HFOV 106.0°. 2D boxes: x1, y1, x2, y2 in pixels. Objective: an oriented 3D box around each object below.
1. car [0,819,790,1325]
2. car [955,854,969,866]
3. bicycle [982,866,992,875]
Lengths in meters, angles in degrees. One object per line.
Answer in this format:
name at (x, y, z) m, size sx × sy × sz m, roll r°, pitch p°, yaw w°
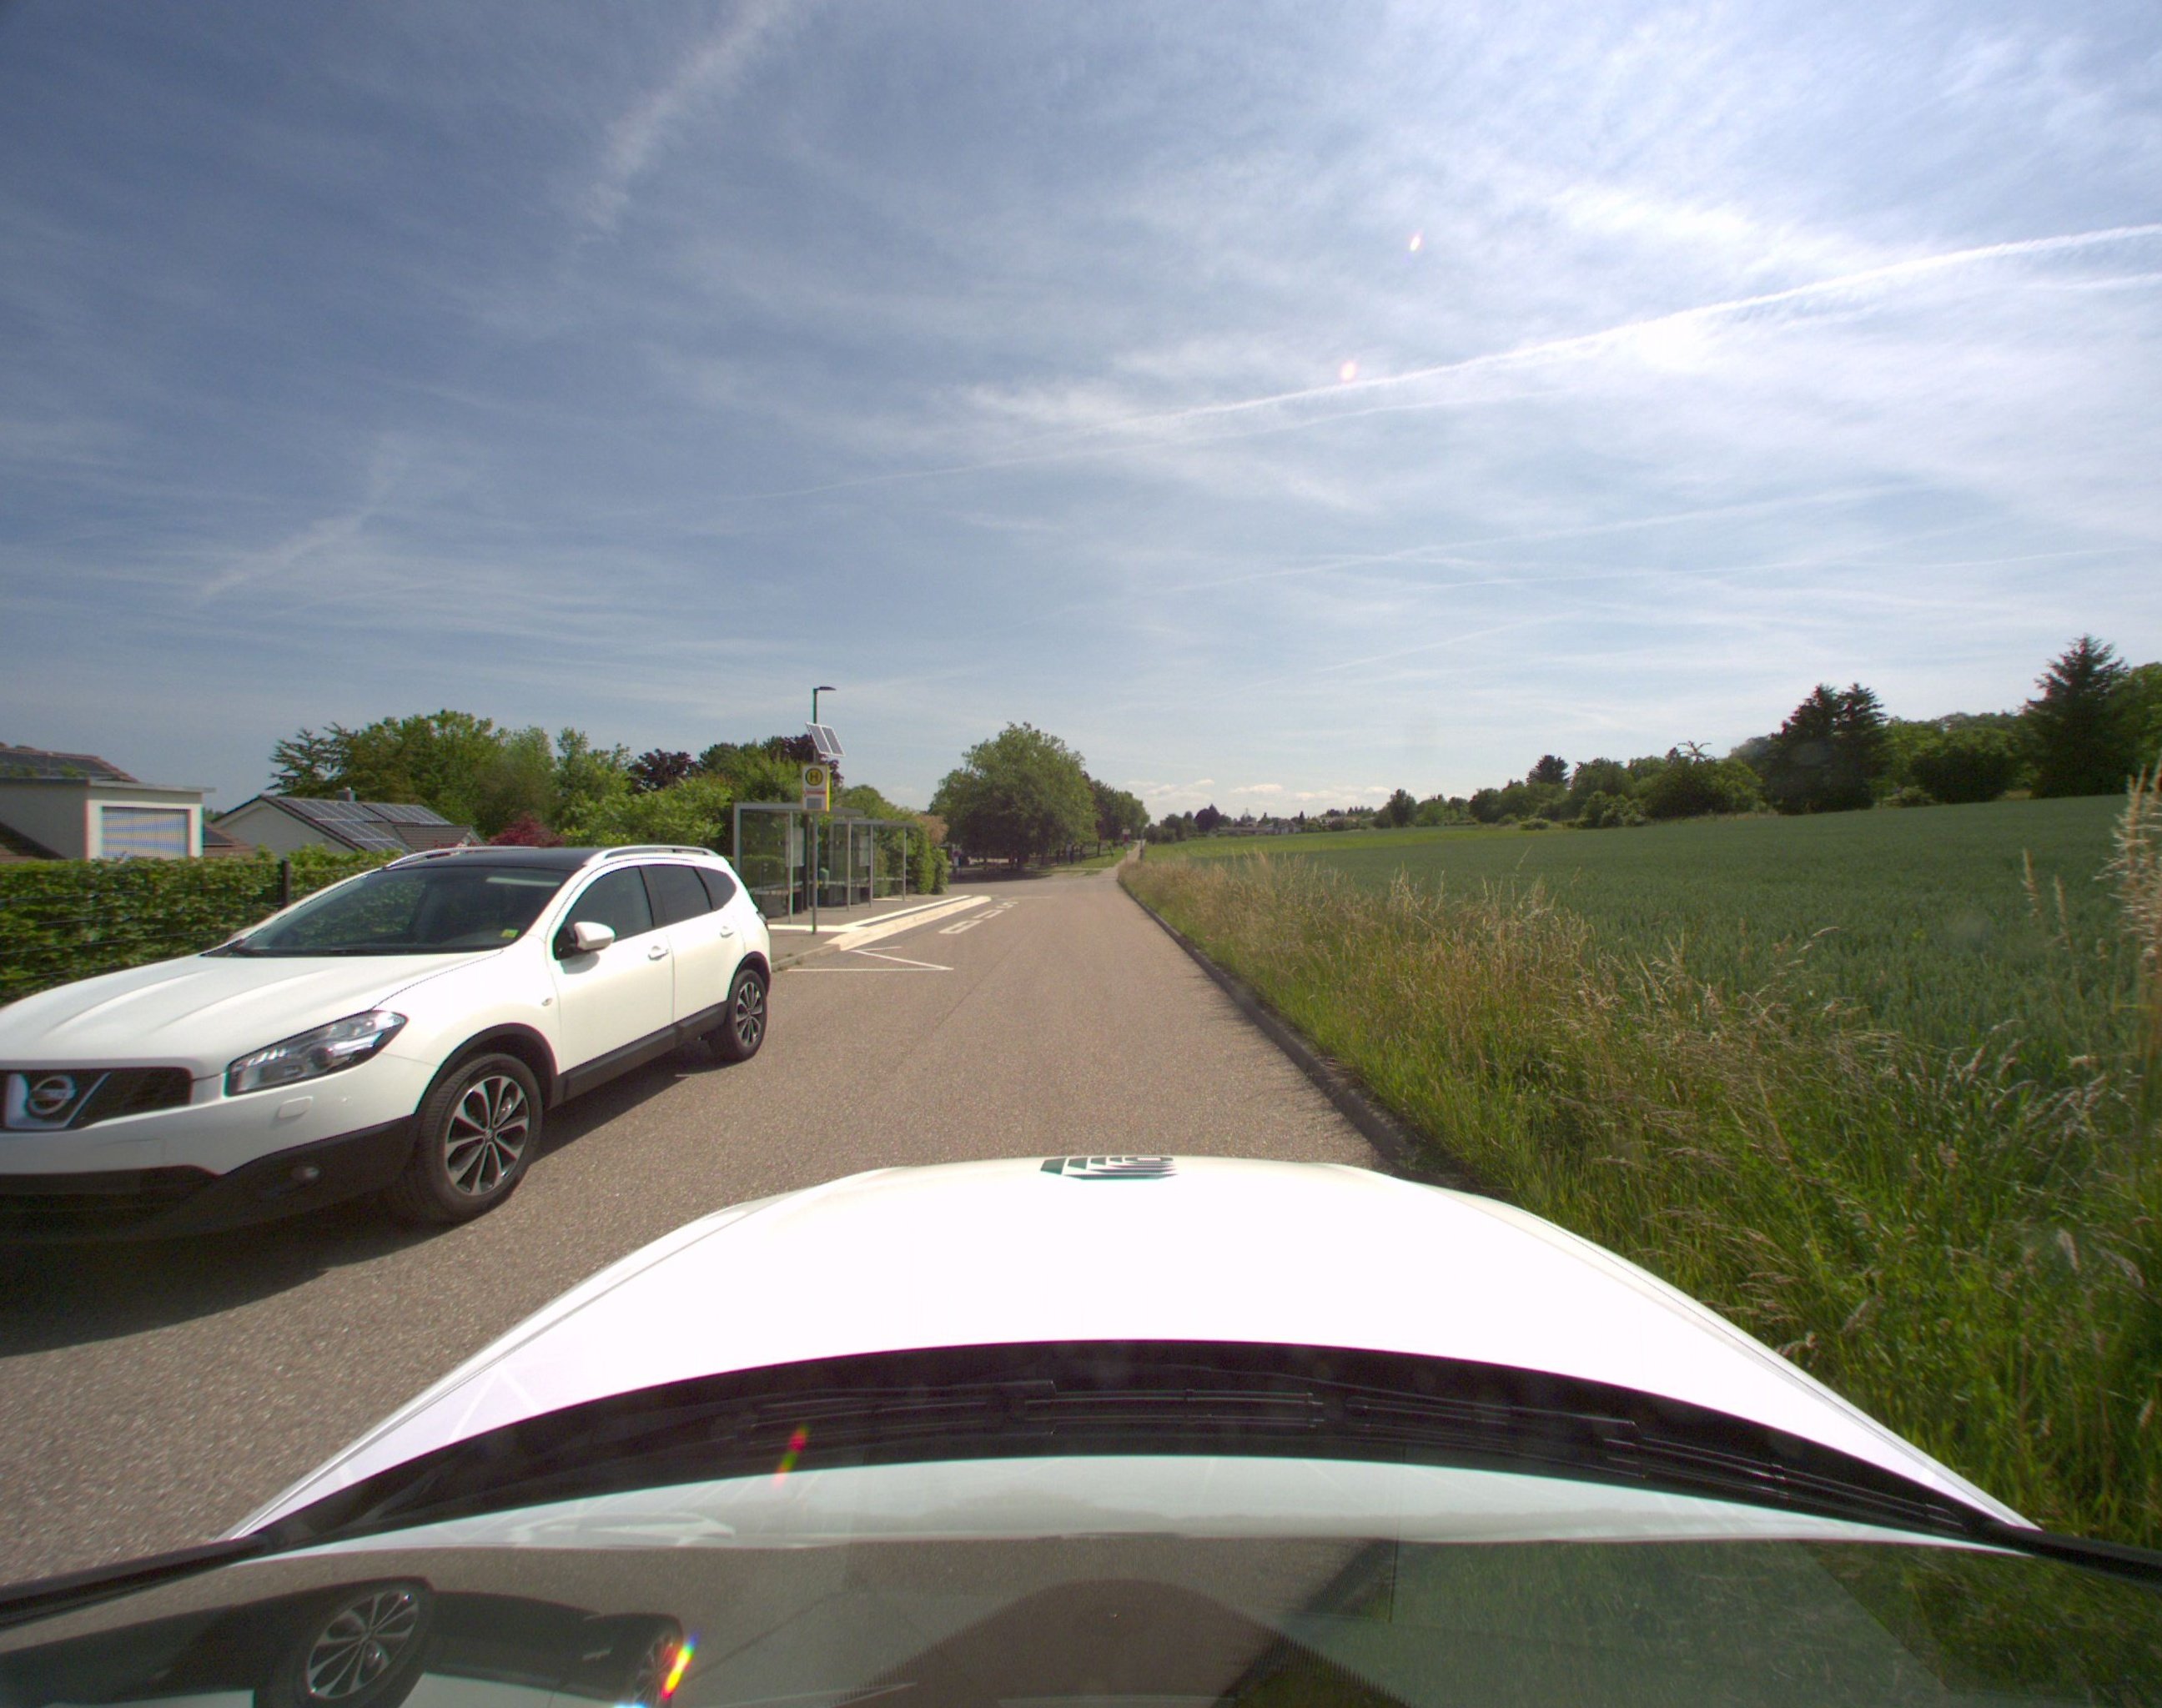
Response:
car at (-3.379, 0.729, 4.839) m, size 1.729 × 1.633 × 4.351 m, roll -1°, pitch 0°, yaw 0°
car at (-19.842, 0.971, 135.675) m, size 1.684 × 1.834 × 3.412 m, roll -1°, pitch 0°, yaw 2°
bicycle at (-11.066, 1.952, 96.279) m, size 0.591 × 1.039 × 1.899 m, roll -2°, pitch 0°, yaw 12°
